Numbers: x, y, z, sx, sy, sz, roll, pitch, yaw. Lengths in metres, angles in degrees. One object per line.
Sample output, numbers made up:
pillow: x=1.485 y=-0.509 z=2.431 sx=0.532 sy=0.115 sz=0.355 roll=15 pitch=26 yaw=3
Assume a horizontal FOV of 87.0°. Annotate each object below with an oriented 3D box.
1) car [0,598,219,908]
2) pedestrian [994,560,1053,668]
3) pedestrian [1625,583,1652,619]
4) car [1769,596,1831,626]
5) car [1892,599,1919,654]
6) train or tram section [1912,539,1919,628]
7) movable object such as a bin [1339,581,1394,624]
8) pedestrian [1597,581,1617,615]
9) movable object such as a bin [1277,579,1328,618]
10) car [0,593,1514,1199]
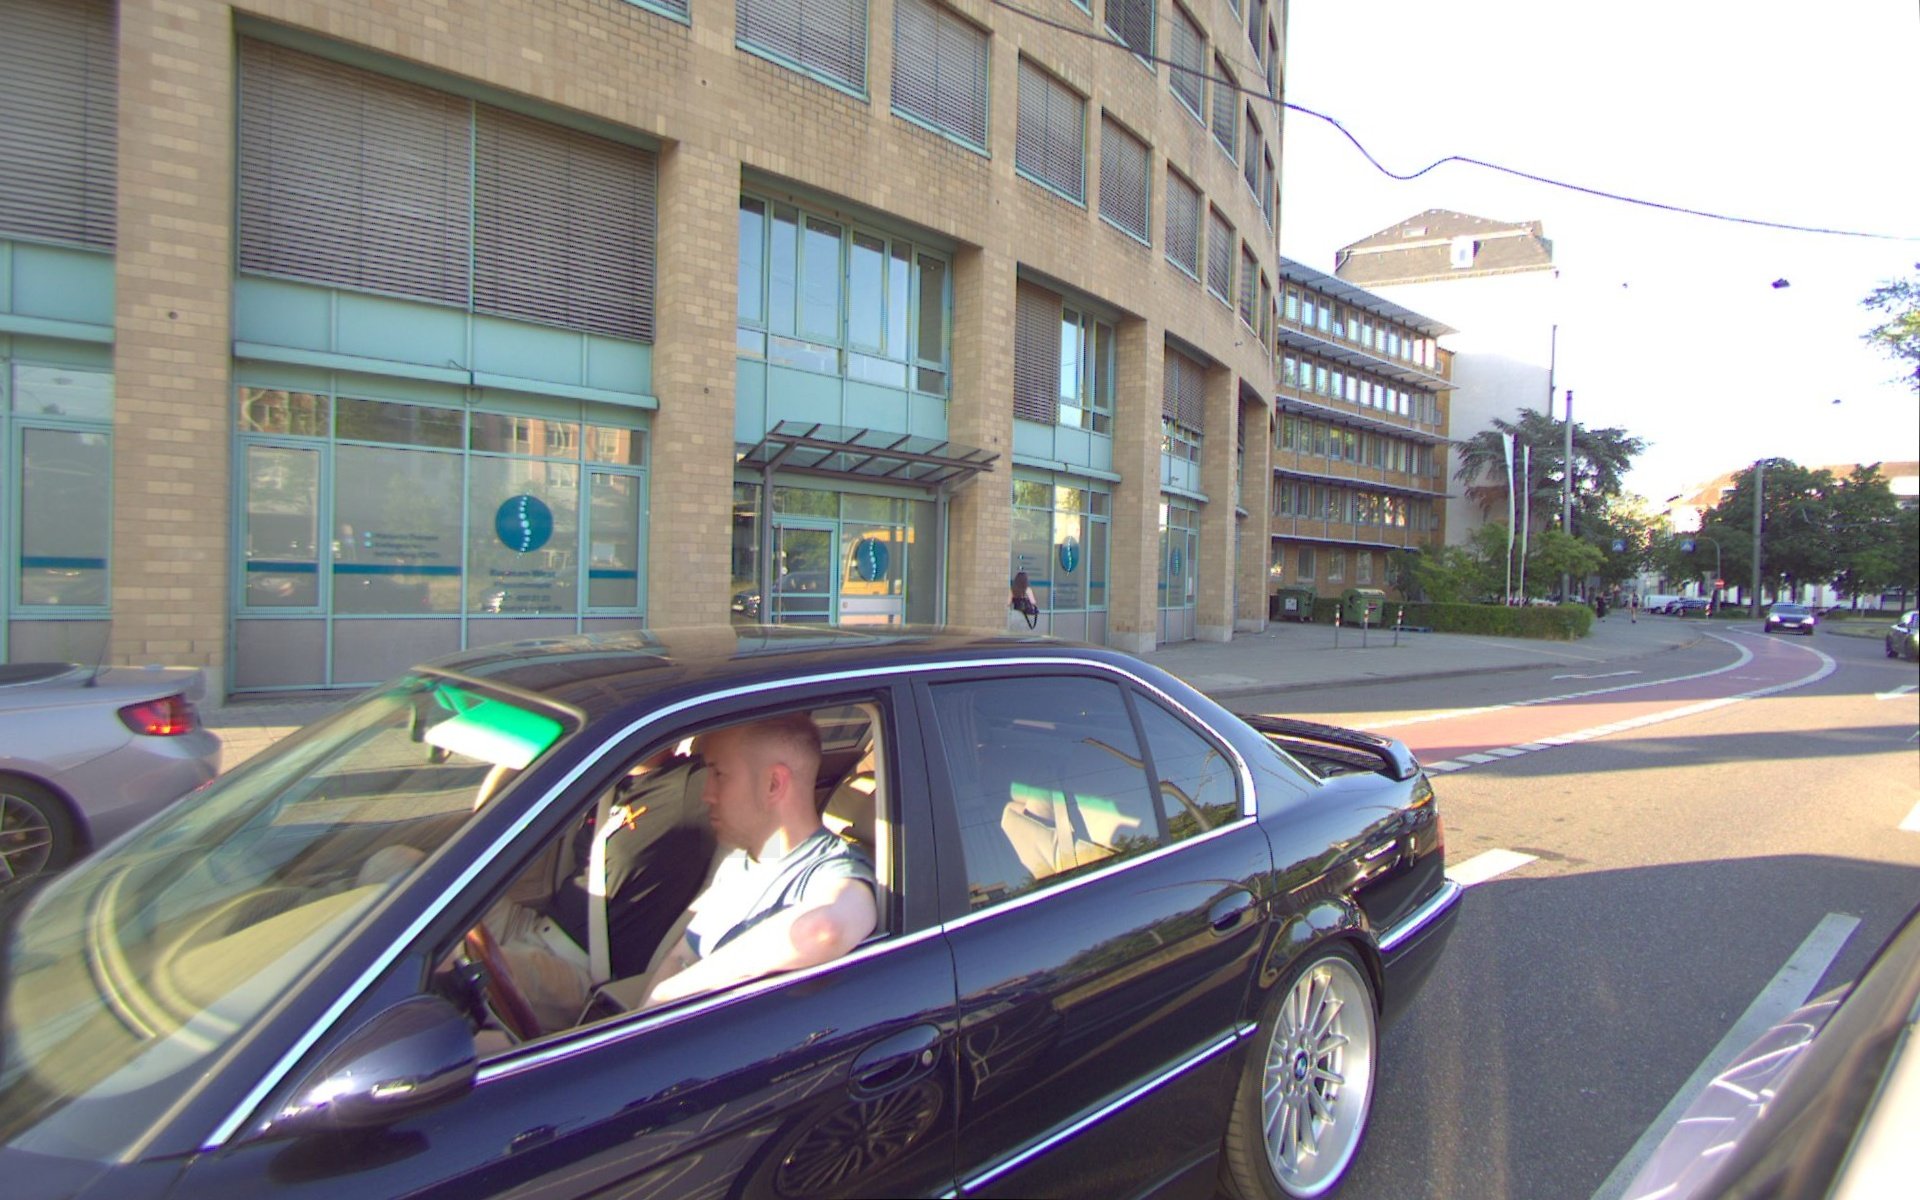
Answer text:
car: x=-5.917 y=0.700 z=4.465 sx=4.153 sy=1.403 sz=1.746 roll=0 pitch=0 yaw=-41
pedestrian: x=1.032 y=0.213 z=16.437 sx=0.702 sy=1.702 sz=0.626 roll=0 pitch=1 yaw=-44
pedestrian: x=37.439 y=0.044 z=55.838 sx=0.899 sy=1.918 sz=1.120 roll=1 pitch=1 yaw=18
car: x=40.193 y=0.505 z=48.402 sx=3.932 sy=1.405 sz=1.756 roll=0 pitch=0 yaw=-42
car: x=27.767 y=0.758 z=28.180 sx=1.986 sy=1.479 sz=4.094 roll=2 pitch=1 yaw=33
train or tram section: x=39.303 y=-0.605 z=37.512 sx=2.890 sy=3.785 sz=12.065 roll=2 pitch=1 yaw=29
movable object such as a bin: x=14.840 y=0.074 z=36.932 sx=1.311 sy=1.477 sz=1.424 roll=0 pitch=1 yaw=-45
pedestrian: x=35.944 y=-0.114 z=56.231 sx=0.711 sy=1.830 sz=0.728 roll=0 pitch=1 yaw=-41
movable object such as a bin: x=13.377 y=-0.079 z=39.530 sx=1.310 sy=1.477 sz=1.425 roll=0 pitch=1 yaw=-43
car: x=-0.721 y=0.702 z=2.322 sx=4.656 sy=1.402 sz=1.997 roll=0 pitch=1 yaw=-41
